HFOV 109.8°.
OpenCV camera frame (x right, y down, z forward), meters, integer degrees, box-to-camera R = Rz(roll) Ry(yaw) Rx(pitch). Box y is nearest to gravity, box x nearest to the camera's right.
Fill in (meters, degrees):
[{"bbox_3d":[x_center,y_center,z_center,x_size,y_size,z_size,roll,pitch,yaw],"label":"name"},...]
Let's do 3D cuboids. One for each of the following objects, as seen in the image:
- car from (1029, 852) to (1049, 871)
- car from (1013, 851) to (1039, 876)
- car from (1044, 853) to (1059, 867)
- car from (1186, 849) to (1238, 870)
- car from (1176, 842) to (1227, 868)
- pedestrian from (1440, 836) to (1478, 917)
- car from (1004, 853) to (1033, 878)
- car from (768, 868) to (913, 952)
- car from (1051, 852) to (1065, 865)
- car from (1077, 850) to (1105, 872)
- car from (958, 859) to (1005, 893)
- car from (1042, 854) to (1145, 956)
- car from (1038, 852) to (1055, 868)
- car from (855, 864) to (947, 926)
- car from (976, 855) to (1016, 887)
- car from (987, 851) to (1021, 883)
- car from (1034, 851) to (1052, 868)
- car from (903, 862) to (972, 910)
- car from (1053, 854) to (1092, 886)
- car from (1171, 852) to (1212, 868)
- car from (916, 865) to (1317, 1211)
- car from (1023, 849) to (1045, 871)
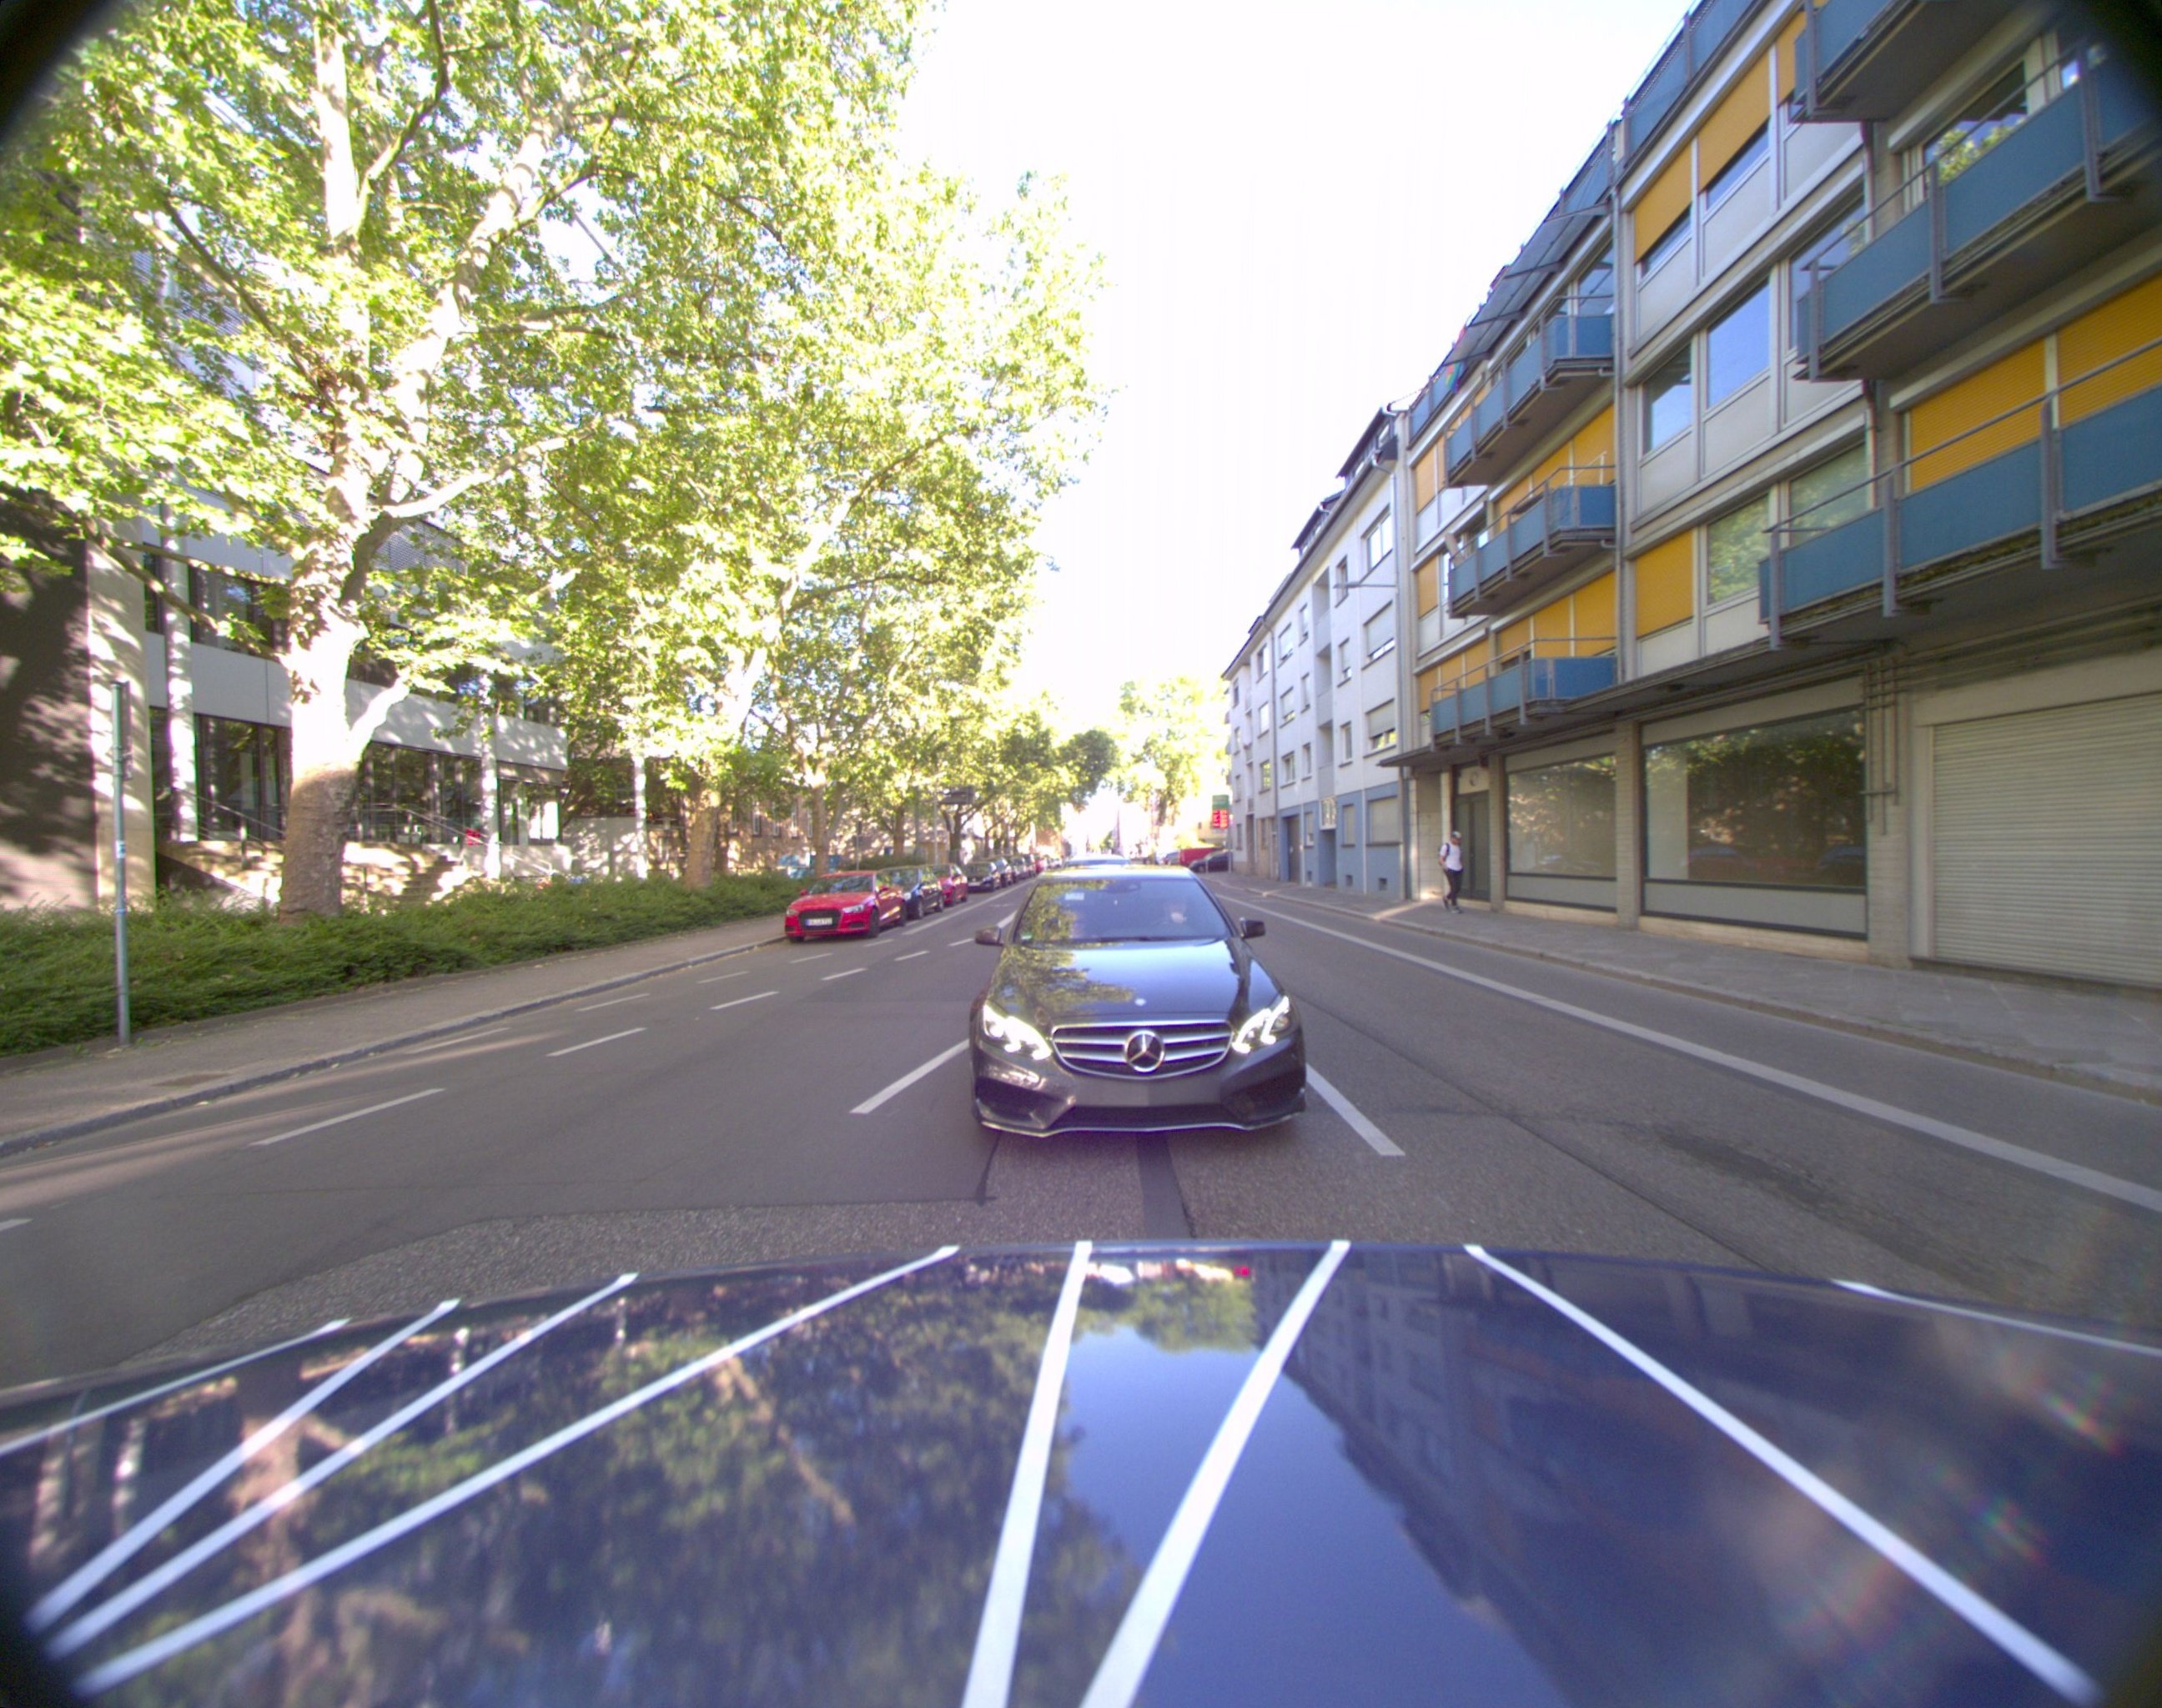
[{"bbox_3d":[-4.099,0.756,74.184,1.635,1.713,3.672,-3,0,1],"label":"car"},{"bbox_3d":[-4.193,0.710,58.635,1.635,1.799,3.672,-3,0,1],"label":"car"},{"bbox_3d":[-3.725,0.727,95.284,1.635,1.713,3.672,-3,0,1],"label":"car"},{"bbox_3d":[9.953,0.435,57.958,3.670,1.403,1.636,-3,1,0],"label":"car"},{"bbox_3d":[9.991,0.107,63.246,3.928,1.912,1.636,-3,1,0],"label":"car"},{"bbox_3d":[8.247,0.485,16.591,0.569,1.716,0.343,-3,1,0],"label":"pedestrian"},{"bbox_3d":[-4.415,0.782,53.904,1.635,1.644,3.845,-3,0,1],"label":"car"},{"bbox_3d":[-5.157,1.128,16.924,1.804,1.455,4.125,-3,0,1],"label":"car"},{"bbox_3d":[-3.217,0.571,106.029,1.635,1.713,3.672,-3,0,1],"label":"car"},{"bbox_3d":[0.728,0.454,54.946,1.829,1.455,4.098,-3,0,1],"label":"car"},{"bbox_3d":[-4.724,1.018,36.576,1.635,1.455,3.740,-3,0,1],"label":"car"},{"bbox_3d":[0.237,0.875,15.045,1.680,1.622,4.125,-3,0,1],"label":"car"},{"bbox_3d":[-4.062,0.722,89.468,1.635,1.713,3.672,-3,0,1],"label":"car"},{"bbox_3d":[-5.026,1.102,21.717,1.635,1.455,3.740,-3,0,1],"label":"car"},{"bbox_3d":[-4.562,0.885,41.267,1.635,1.578,3.845,-3,0,1],"label":"car"},{"bbox_3d":[-4.736,0.767,47.220,1.635,1.795,3.845,-3,0,1],"label":"car"},{"bbox_3d":[-4.052,0.612,81.492,1.635,1.713,3.672,-3,0,1],"label":"car"},{"bbox_3d":[-5.017,1.090,26.972,1.635,1.455,3.740,-3,0,1],"label":"car"},{"bbox_3d":[-0.386,0.806,39.536,1.853,1.455,4.098,-3,0,1],"label":"car"},{"bbox_3d":[9.568,0.492,65.840,3.325,1.241,1.295,-3,1,0],"label":"car"},{"bbox_3d":[0.189,0.893,5.612,1.804,1.455,4.125,-3,0,1],"label":"car"},{"bbox_3d":[-4.311,0.500,69.577,1.635,1.878,3.672,-3,0,1],"label":"car"}]
